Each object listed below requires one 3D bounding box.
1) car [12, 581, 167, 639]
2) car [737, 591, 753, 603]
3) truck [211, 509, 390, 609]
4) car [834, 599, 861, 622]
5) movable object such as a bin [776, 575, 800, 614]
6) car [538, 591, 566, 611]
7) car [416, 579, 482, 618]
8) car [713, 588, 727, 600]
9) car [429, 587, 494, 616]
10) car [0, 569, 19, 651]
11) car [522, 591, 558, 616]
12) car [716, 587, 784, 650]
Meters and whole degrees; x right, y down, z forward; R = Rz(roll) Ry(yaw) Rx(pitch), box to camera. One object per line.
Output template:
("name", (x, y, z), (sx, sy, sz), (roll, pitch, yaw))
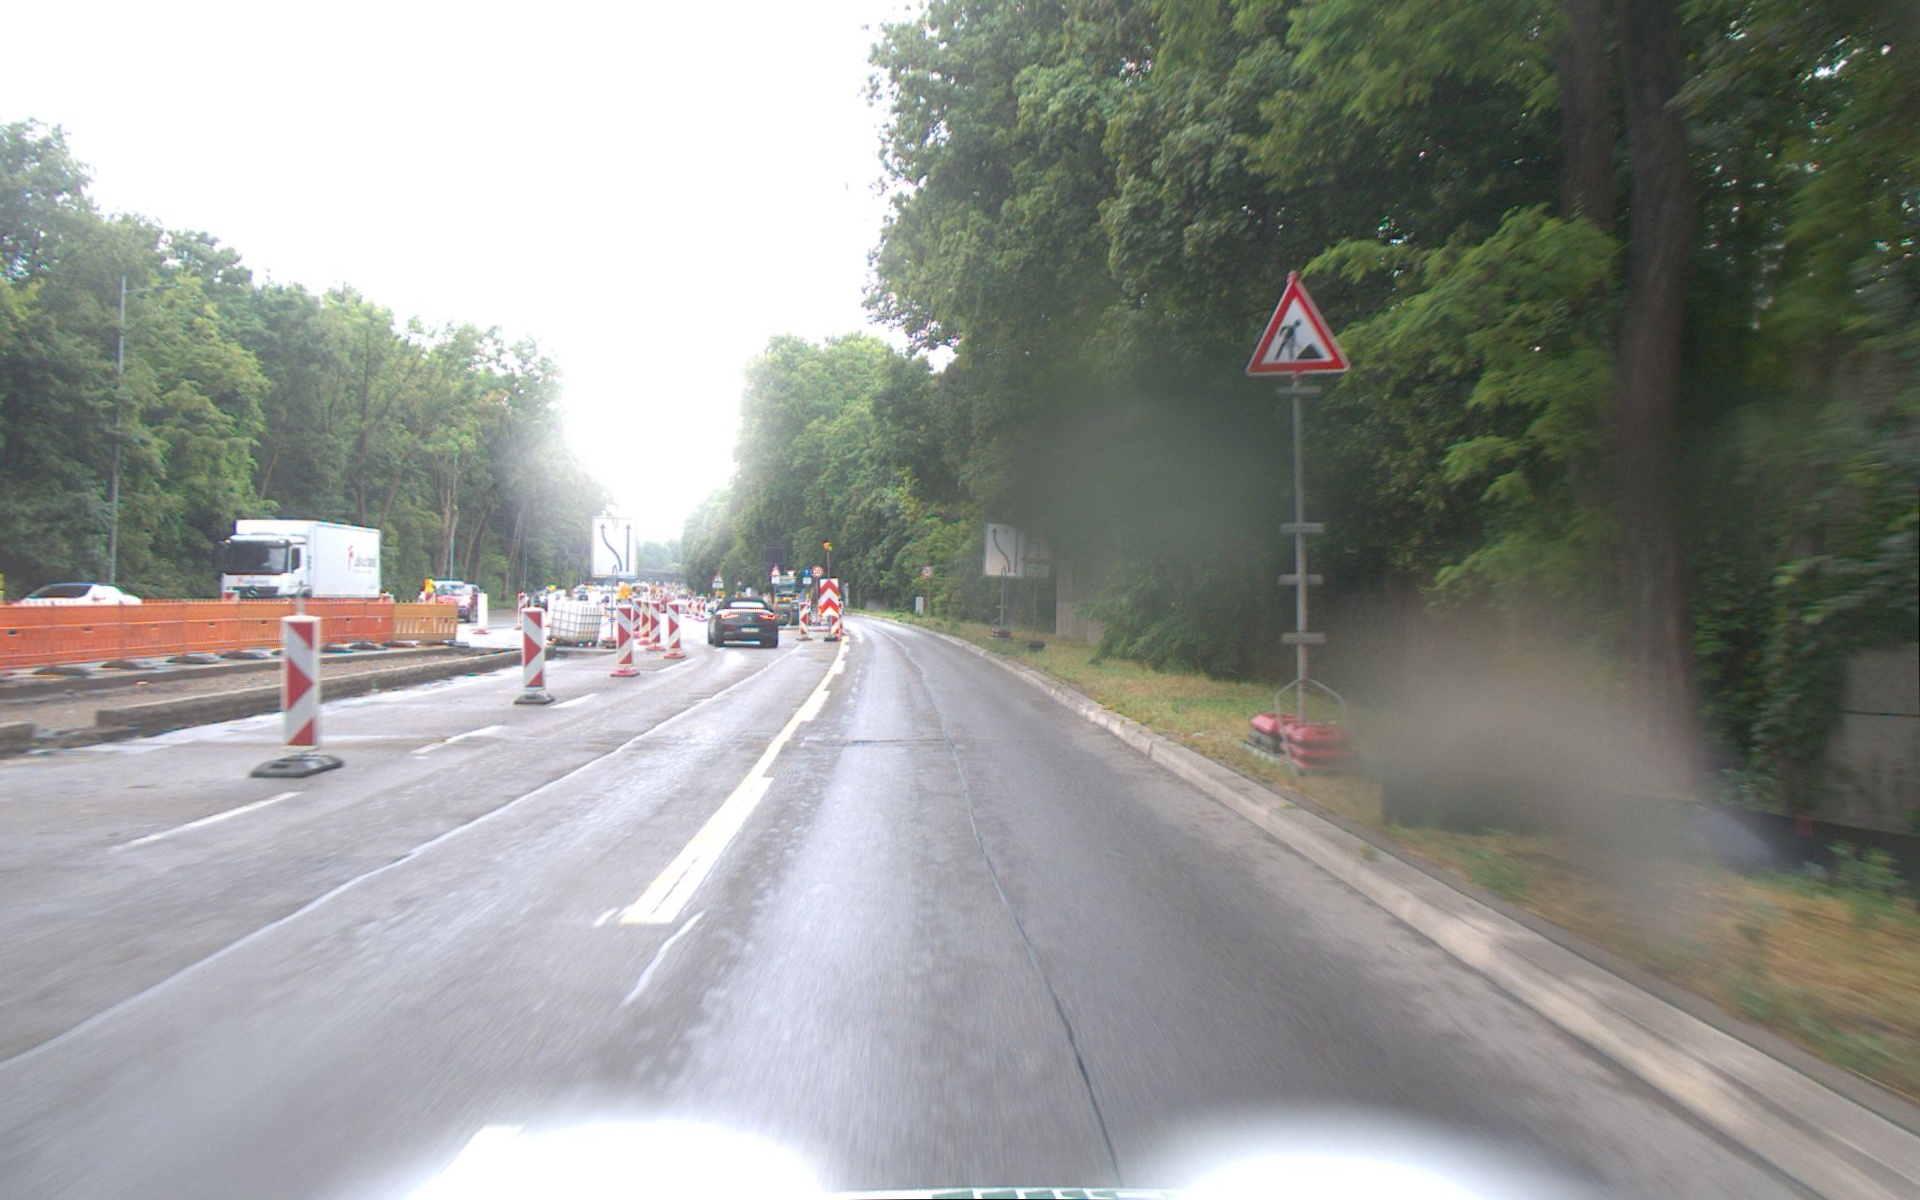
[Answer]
("car", (-22.422, 0.239, 42.791), (1.773, 1.403, 4.367), (1, 0, -2))
("car", (-27.471, -0.435, 210.839), (1.725, 1.367, 3.990), (2, 1, -11))
("truck", (-23.205, -1.346, 58.897), (2.740, 3.203, 10.141), (1, 0, -3))
("car", (-8.880, 0.793, 130.392), (1.877, 1.625, 4.828), (2, 1, -6))
("movable object such as a bin", (-13.136, -0.393, 126.245), (1.713, 2.917, 3.528), (0, 0, -8))
("car", (-31.115, 0.100, 126.136), (1.495, 1.483, 3.536), (-1, 0, -4))
("car", (-24.717, -0.081, 80.127), (1.807, 1.753, 4.718), (-2, 0, -2))
("car", (-35.221, -0.865, 242.670), (1.839, 1.646, 3.995), (4, 0, -6))
("car", (-21.200, 0.047, 70.503), (1.573, 1.172, 4.281), (1, 0, -2))
("car", (-19.398, 0.185, 30.549), (1.798, 1.577, 4.038), (1, 0, -2))
("car", (-28.735, 0.234, 113.264), (1.603, 1.676, 4.196), (0, 0, -4))
("car", (-6.108, 0.501, 48.334), (1.826, 1.517, 3.996), (2, 2, -6))
